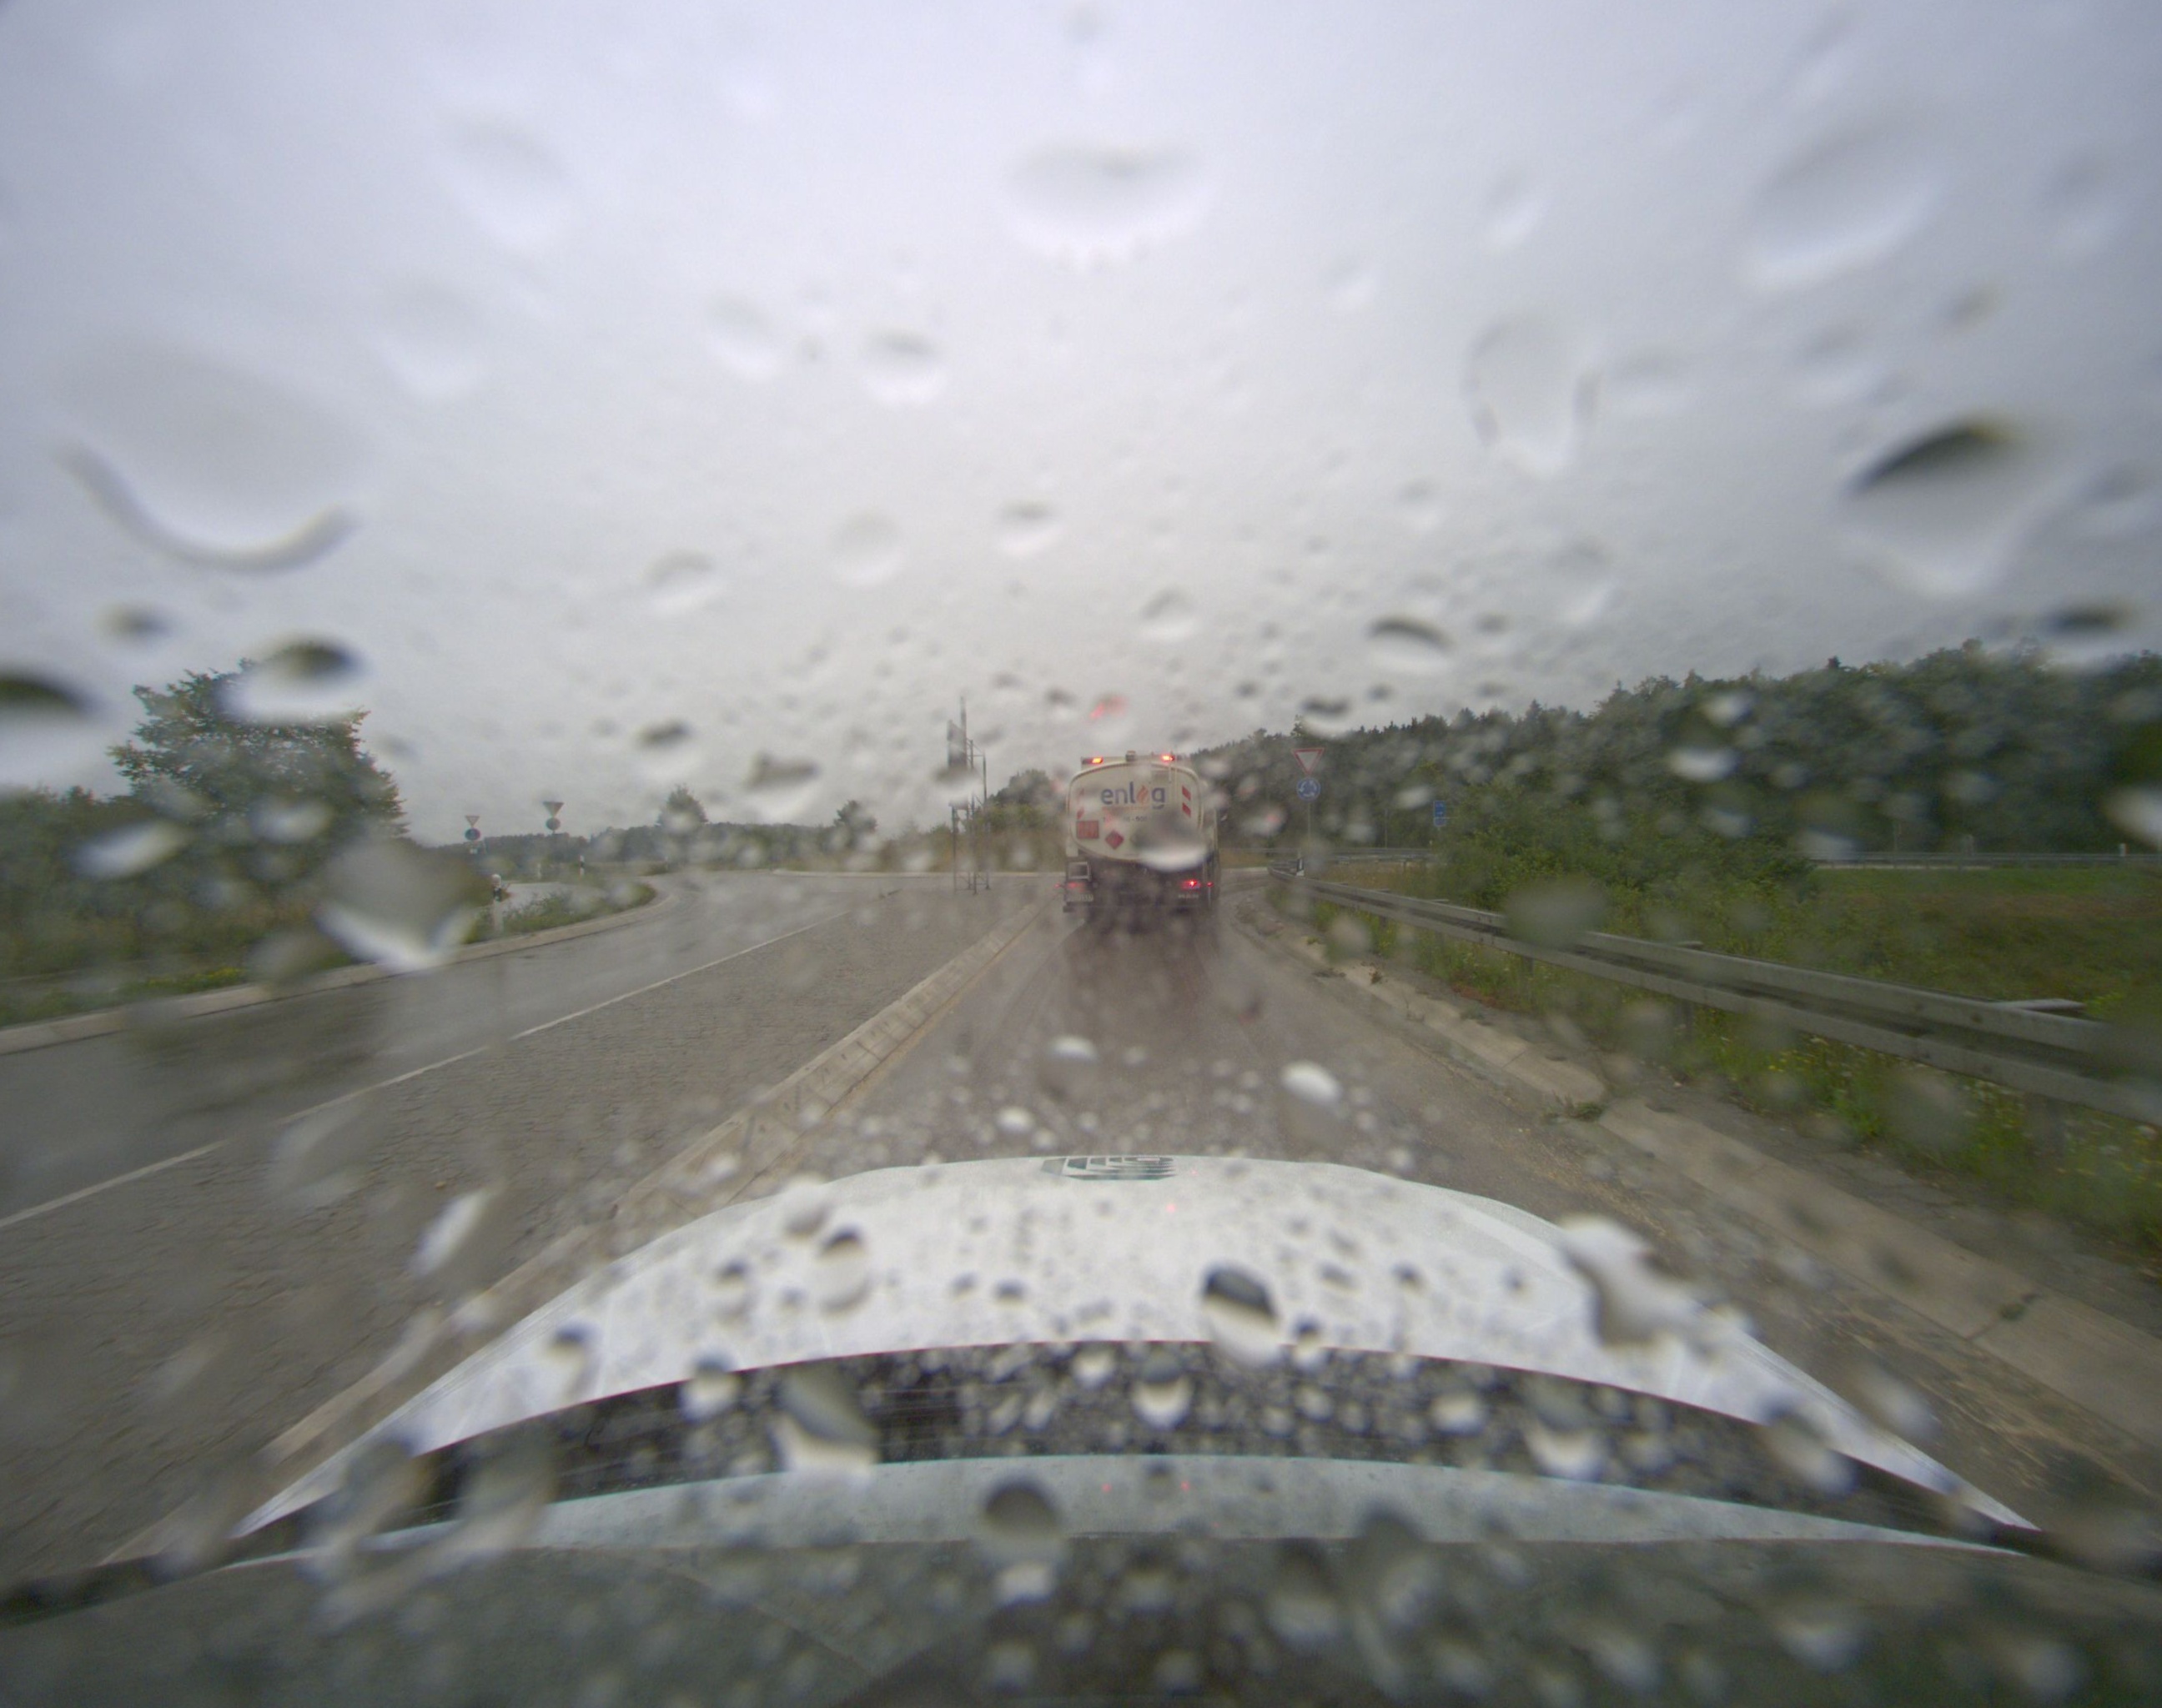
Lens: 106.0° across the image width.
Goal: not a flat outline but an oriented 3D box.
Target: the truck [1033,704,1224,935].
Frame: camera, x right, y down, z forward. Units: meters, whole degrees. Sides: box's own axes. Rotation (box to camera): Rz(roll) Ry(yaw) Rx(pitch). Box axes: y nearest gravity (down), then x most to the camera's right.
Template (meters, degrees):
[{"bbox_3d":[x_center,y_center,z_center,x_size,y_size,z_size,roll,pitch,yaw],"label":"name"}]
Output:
[{"bbox_3d":[1.540,-0.619,18.222,3.019,3.851,8.851,0,1,11],"label":"truck"}]
